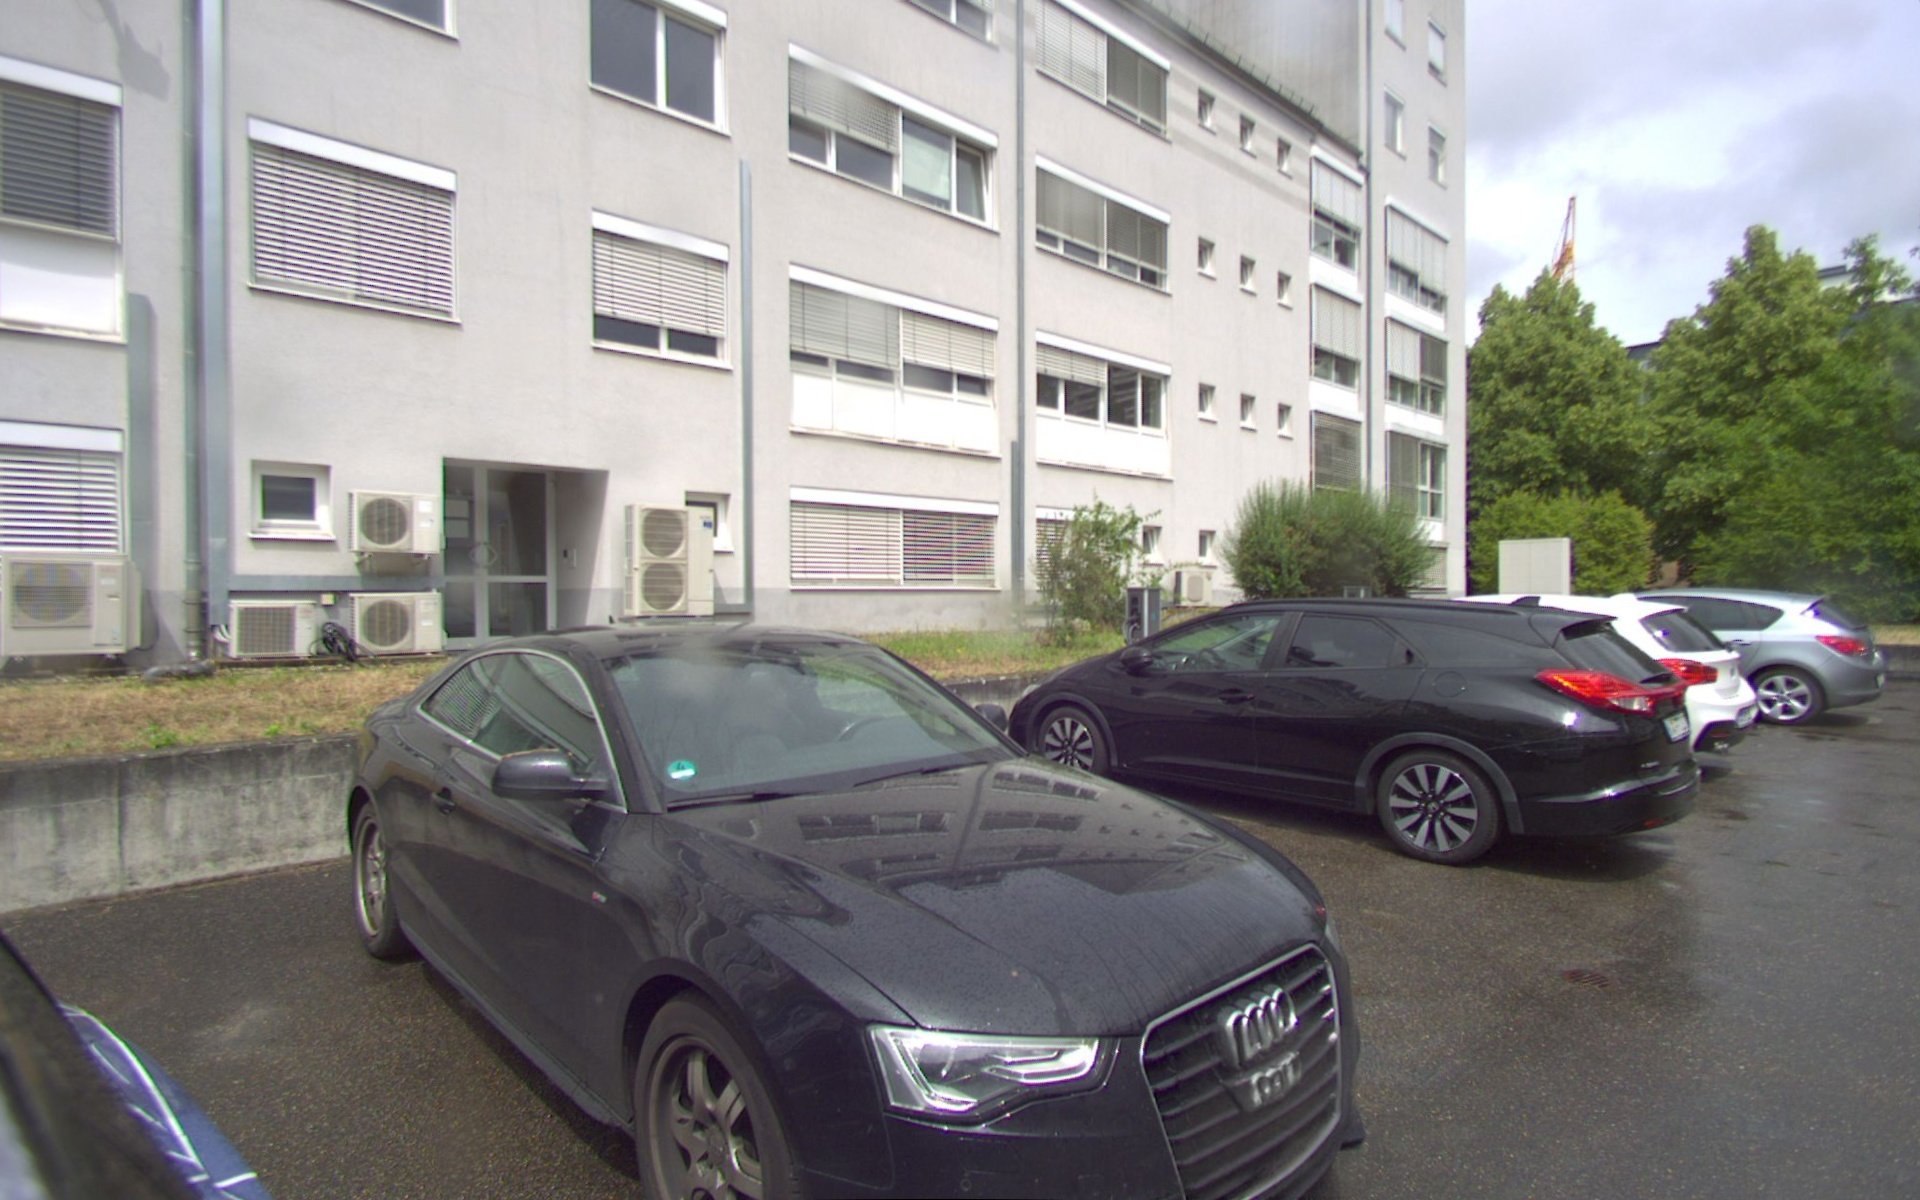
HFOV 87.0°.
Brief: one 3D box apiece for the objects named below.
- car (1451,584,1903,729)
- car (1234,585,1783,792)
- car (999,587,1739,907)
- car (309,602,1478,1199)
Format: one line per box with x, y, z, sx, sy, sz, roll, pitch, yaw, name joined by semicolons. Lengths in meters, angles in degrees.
8.630;0.544;12.481;1.737;1.453;4.319;-1;2;-44;car
4.784;0.601;9.305;1.670;1.453;4.130;-1;2;-43;car
2.418;0.653;6.838;1.737;1.453;4.319;-1;2;-44;car
-0.846;0.739;3.655;1.736;1.362;4.534;-1;2;-43;car
